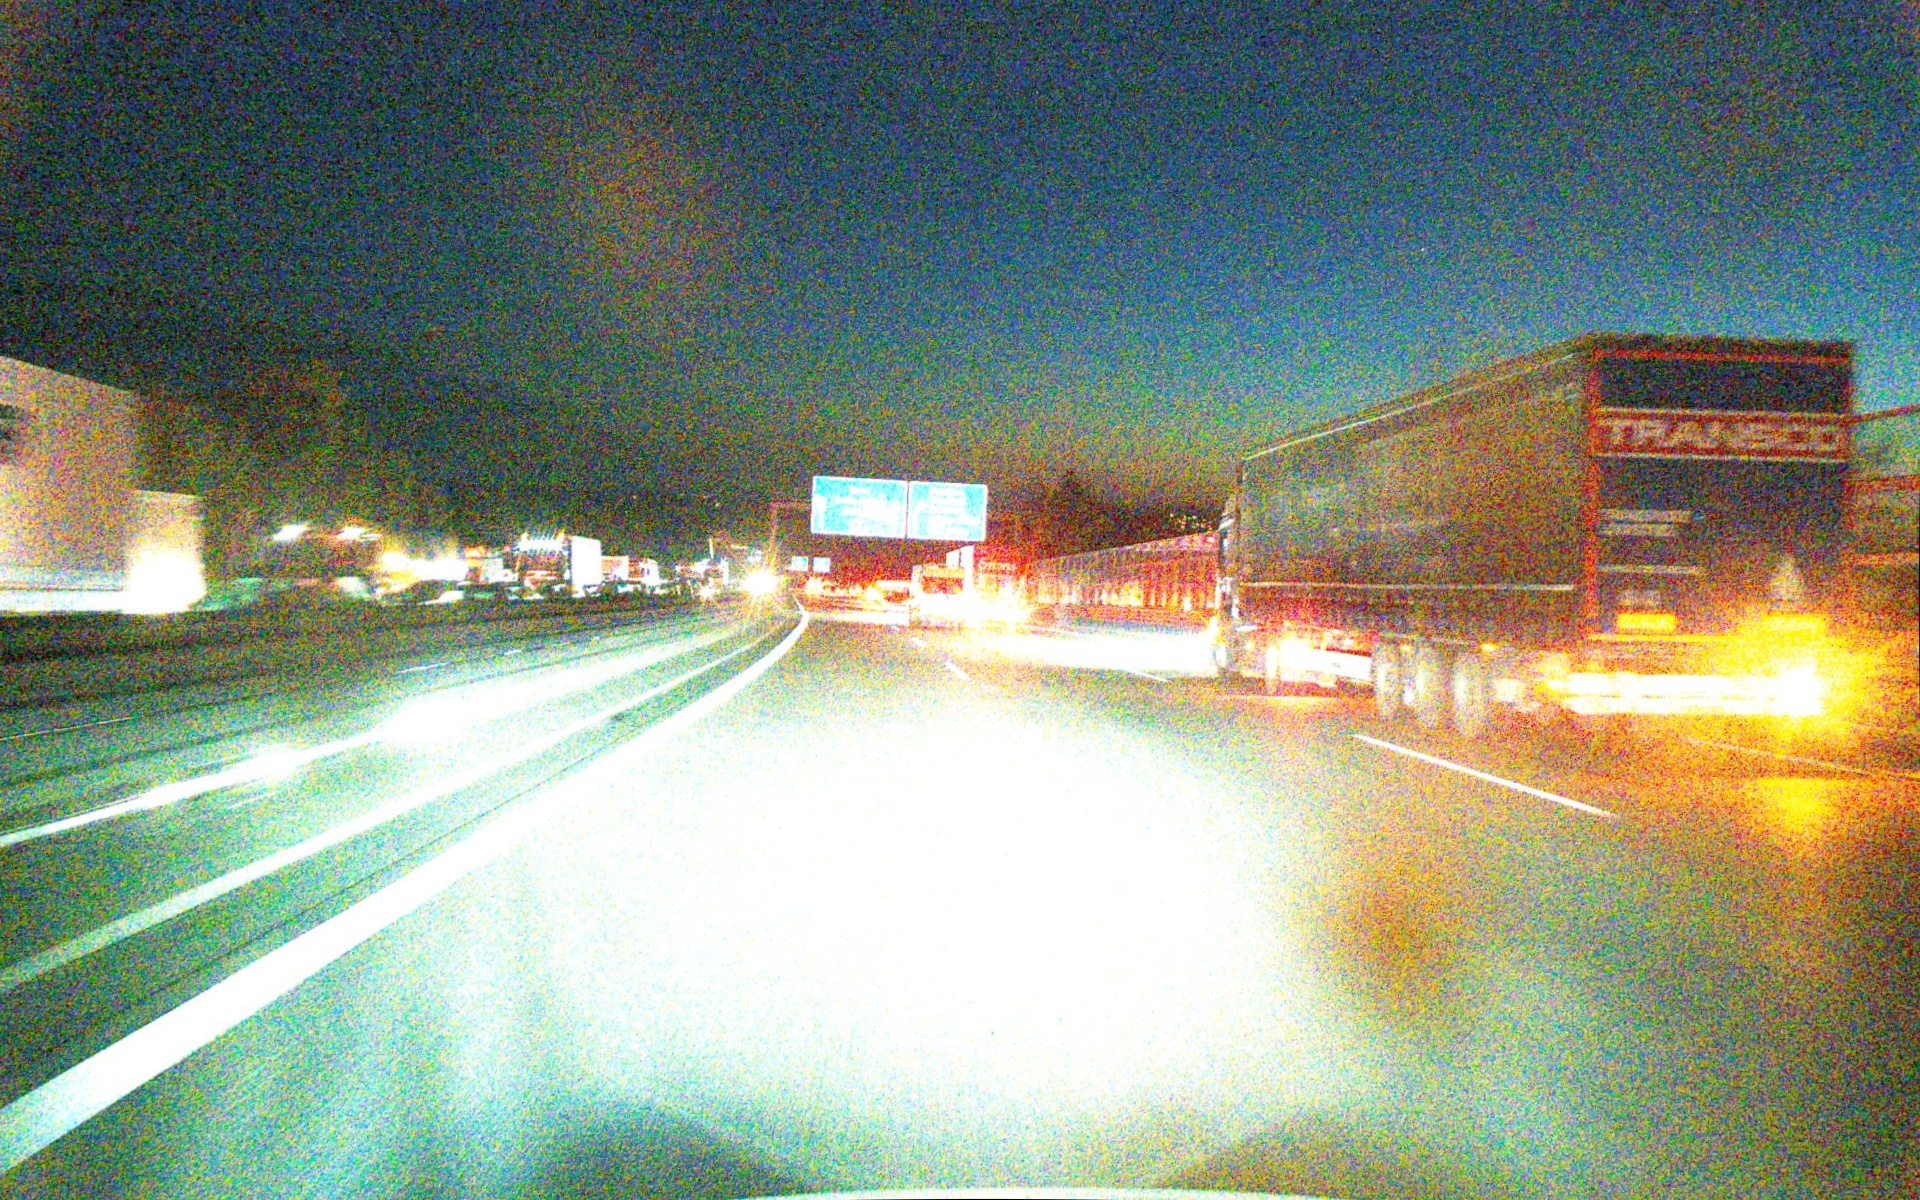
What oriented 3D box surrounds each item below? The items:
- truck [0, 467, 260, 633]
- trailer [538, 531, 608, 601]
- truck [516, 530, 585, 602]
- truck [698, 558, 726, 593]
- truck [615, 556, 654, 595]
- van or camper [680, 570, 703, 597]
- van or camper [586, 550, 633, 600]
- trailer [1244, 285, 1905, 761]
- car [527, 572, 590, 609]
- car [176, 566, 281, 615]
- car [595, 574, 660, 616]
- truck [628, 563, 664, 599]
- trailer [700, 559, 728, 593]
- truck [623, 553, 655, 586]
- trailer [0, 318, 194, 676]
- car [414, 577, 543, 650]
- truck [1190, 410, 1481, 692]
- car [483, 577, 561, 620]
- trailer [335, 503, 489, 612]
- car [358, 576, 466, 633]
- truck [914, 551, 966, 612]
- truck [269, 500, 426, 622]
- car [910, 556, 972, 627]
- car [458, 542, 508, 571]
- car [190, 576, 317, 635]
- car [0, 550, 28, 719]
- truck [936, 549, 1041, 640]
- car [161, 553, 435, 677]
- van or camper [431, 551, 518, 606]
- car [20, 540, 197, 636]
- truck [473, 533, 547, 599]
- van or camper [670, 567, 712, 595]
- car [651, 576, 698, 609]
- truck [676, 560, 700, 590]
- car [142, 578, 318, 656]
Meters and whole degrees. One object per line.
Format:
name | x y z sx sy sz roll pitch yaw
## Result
truck | -17.522 -0.947 34.621 2.506 3.011 8.168 2 0 -3
trailer | -22.380 -1.864 96.210 2.347 3.690 11.167 3 0 -5
truck | -21.640 -1.748 87.628 2.357 3.575 6.717 3 0 -5
truck | -29.089 -2.812 194.253 2.820 3.737 6.770 4 -1 -7
truck | -27.576 -1.999 140.439 2.507 3.038 7.442 2 -1 -6
van or camper | -28.357 -1.753 174.915 2.044 2.678 7.592 2 0 -7
van or camper | -24.963 -1.745 118.075 2.386 3.329 7.384 2 0 -6
trailer | 6.545 -0.701 21.092 2.797 4.138 13.196 0 0 -3
car | -15.809 -0.358 65.338 1.538 1.378 3.999 2 0 -1
car | -22.154 -0.272 50.251 1.539 1.378 3.998 2 0 -3
car | -11.698 -0.187 58.375 1.538 1.378 3.999 2 0 -1
truck | -28.357 -1.680 149.535 2.507 3.038 7.442 2 -1 -6
trailer | -30.064 -2.845 202.831 2.831 3.735 12.197 4 -1 -7
truck | -36.515 -3.394 188.231 2.903 3.502 6.353 3 0 -6
trailer | -12.711 -1.307 18.063 3.029 4.159 12.443 4 -1 -2
car | -9.969 0.255 34.507 1.538 1.378 3.999 2 0 -1
truck | 6.095 -0.736 28.245 2.805 4.148 7.505 0 0 -4
car | -14.843 -0.051 56.223 1.538 1.378 3.999 2 0 -1
trailer | -18.628 -1.319 56.896 2.555 3.231 8.997 4 -1 -3
car | -14.285 0.115 43.299 1.538 1.378 3.999 2 0 -1
truck | -1.779 -1.480 135.923 3.278 4.553 13.899 3 0 -4
truck | -18.296 -1.057 49.799 2.591 3.275 5.791 4 -1 -3
car | -0.720 -0.312 68.285 2.289 2.686 5.247 2 -1 1
car | -24.798 -2.253 86.085 1.539 1.378 3.998 2 0 -3
car | -17.528 0.112 41.258 1.540 1.378 4.572 1 0 -5
car | -9.126 0.254 12.246 1.805 1.451 4.513 4 0 0
truck | 1.335 -0.214 96.584 3.839 4.708 20.993 0 0 -5
car | -8.807 0.170 22.471 1.835 1.451 4.513 2 0 0
van or camper | -19.953 -0.859 68.325 2.146 2.049 7.630 2 0 -7
car | -21.921 -0.298 42.844 2.411 2.335 4.784 0 0 -5
truck | -27.132 -1.946 100.224 2.347 3.690 11.166 3 0 -6
van or camper | -14.163 -0.991 87.280 1.785 1.378 5.346 2 0 -5
car | -13.741 -0.350 79.766 1.624 1.497 3.999 2 0 -1
truck | -35.169 -3.256 213.958 2.822 3.737 6.036 3 0 -10
car | -13.771 0.295 31.454 1.538 1.338 4.160 2 0 -1
